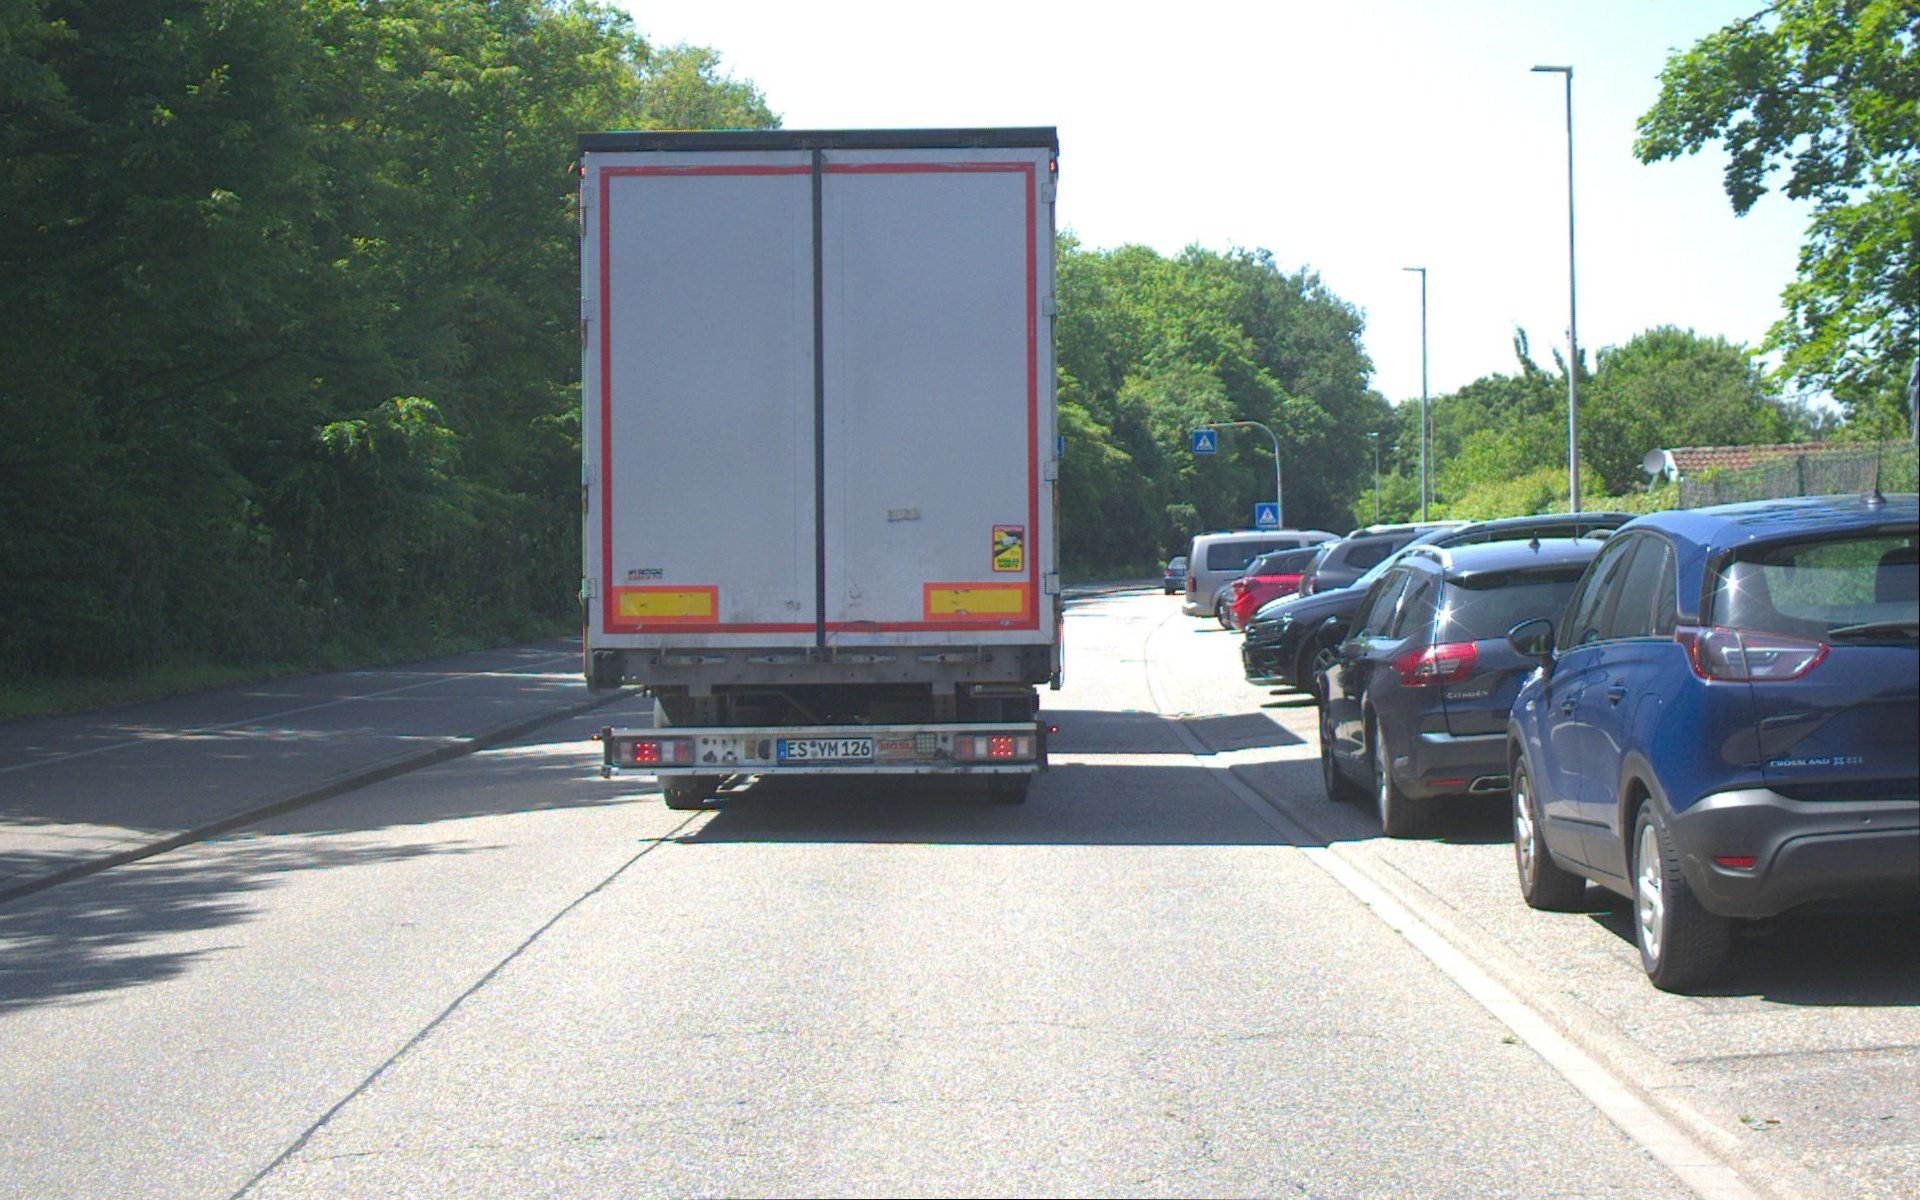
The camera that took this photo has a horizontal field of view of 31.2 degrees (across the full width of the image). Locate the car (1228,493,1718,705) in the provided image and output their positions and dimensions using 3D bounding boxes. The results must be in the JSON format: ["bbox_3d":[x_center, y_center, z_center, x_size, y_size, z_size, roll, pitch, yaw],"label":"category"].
[{"bbox_3d":[5.015,-0.031,34.083,4.470,1.698,1.914,-4,1,1],"label":"car"}]

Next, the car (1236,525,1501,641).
[{"bbox_3d":[6.336,-0.274,53.676,3.920,1.473,1.845,-4,1,4],"label":"car"}]

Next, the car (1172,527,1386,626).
[{"bbox_3d":[5.743,-0.435,62.210,3.575,1.497,1.842,-5,1,-1],"label":"car"}]

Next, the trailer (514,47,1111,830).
[{"bbox_3d":[-0.744,-0.928,23.748,3.113,4.088,11.537,0,1,0],"label":"trailer"}]

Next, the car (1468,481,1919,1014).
[{"bbox_3d":[3.073,0.385,12.575,1.789,1.598,4.130,-2,2,0],"label":"car"}]

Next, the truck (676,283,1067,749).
[{"bbox_3d":[-0.692,-0.728,30.669,3.114,3.712,6.414,0,1,0],"label":"truck"}]

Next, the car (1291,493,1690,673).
[{"bbox_3d":[6.003,-0.207,39.309,4.258,1.692,1.853,-4,1,4],"label":"car"}]

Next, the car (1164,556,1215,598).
[{"bbox_3d":[8.563,-0.861,128.207,1.781,1.481,3.999,0,1,5],"label":"car"}]

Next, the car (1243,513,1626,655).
[{"bbox_3d":[6.043,-0.219,44.209,4.558,1.434,1.961,-5,1,0],"label":"car"}]

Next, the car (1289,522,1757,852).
[{"bbox_3d":[2.974,0.382,19.113,1.789,1.477,4.665,-4,1,1],"label":"car"}]

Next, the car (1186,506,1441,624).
[{"bbox_3d":[6.695,-0.677,65.390,4.622,1.842,1.995,-4,1,5],"label":"car"}]
